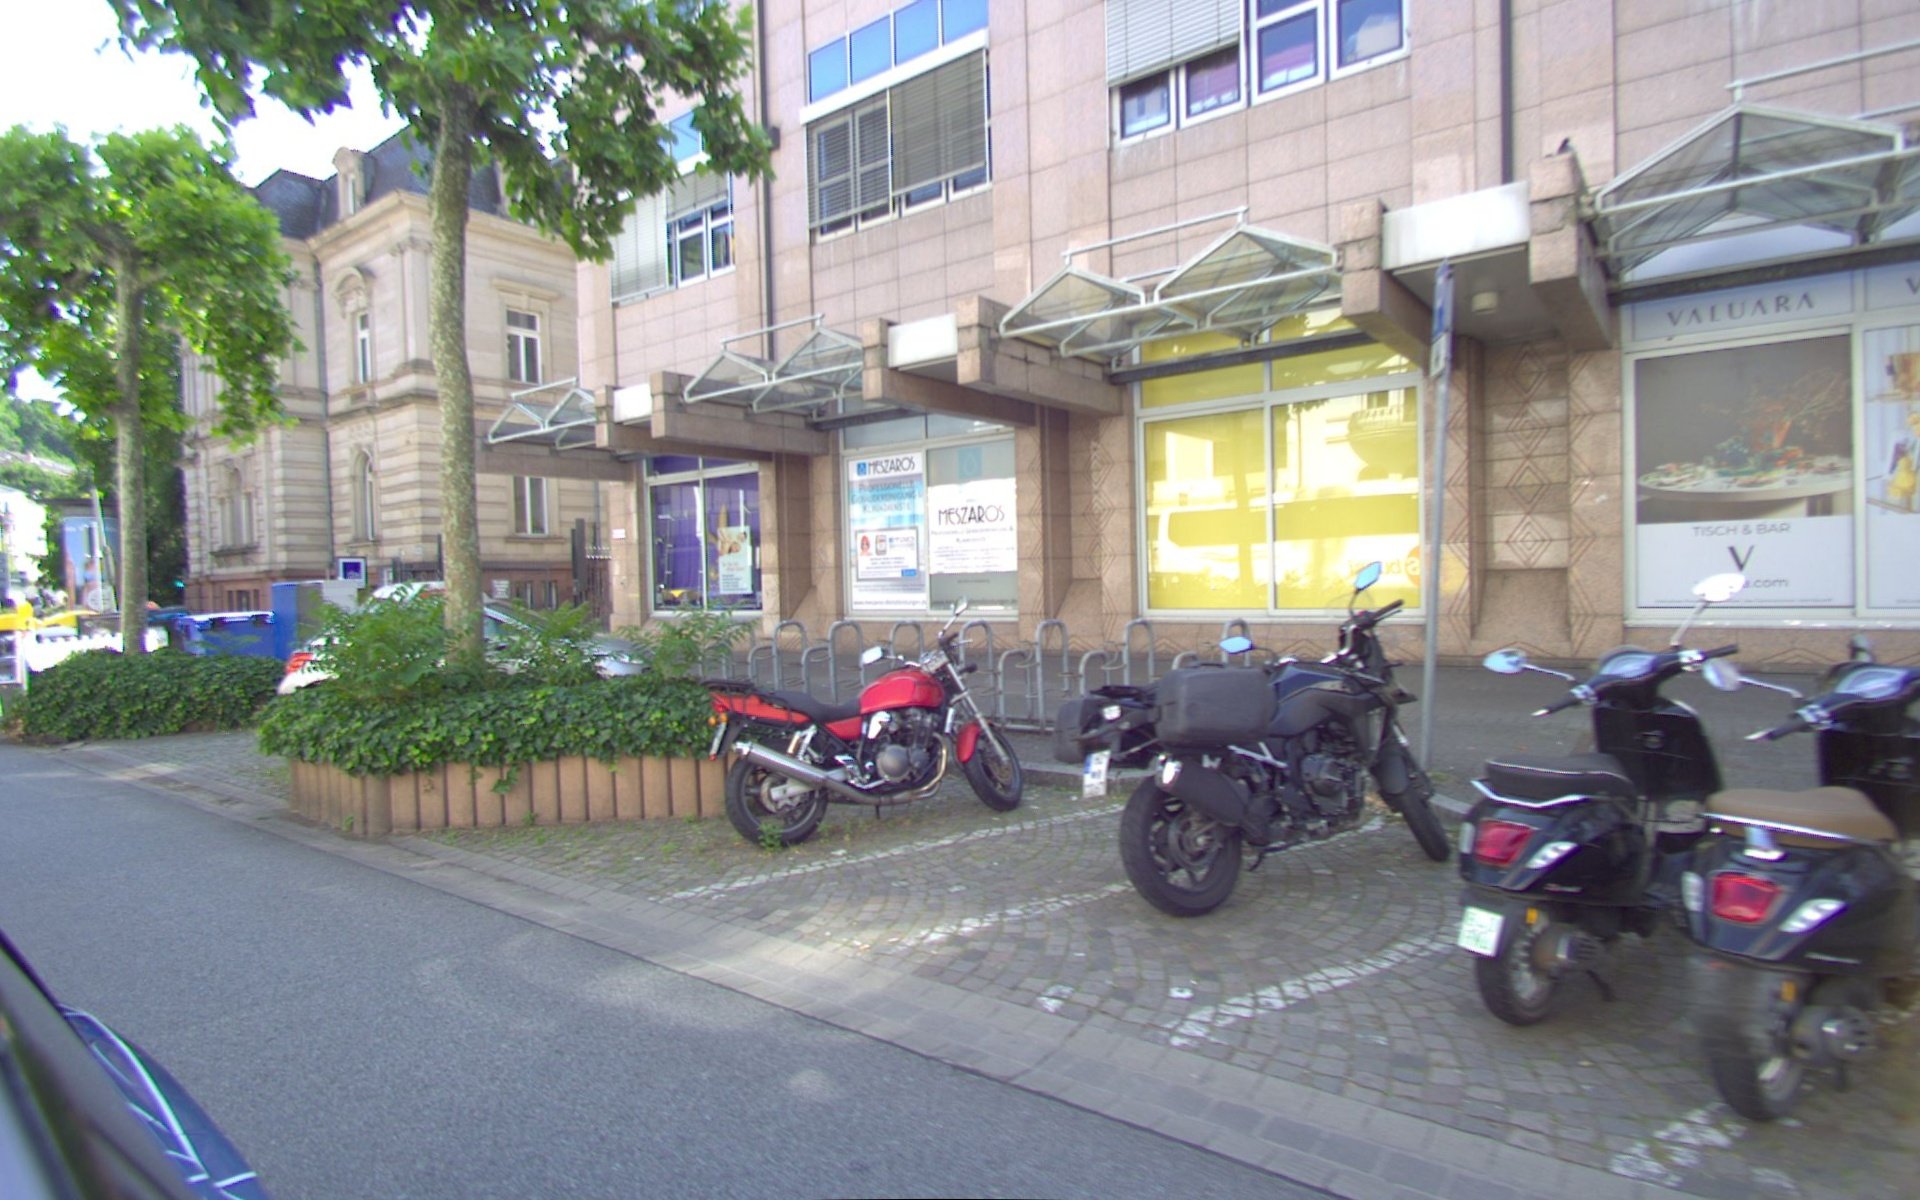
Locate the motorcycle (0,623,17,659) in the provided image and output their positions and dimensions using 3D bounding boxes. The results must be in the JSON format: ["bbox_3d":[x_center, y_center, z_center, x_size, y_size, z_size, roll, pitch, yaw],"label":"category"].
[{"bbox_3d":[-28.951,1.236,30.703,0.448,1.005,2.163,-4,3,-43],"label":"motorcycle"}]

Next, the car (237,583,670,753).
[{"bbox_3d":[-5.478,0.673,11.526,3.991,1.505,1.940,-3,1,-11],"label":"car"}]

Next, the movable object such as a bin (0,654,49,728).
[{"bbox_3d":[-12.771,1.218,13.642,0.495,0.946,0.553,-2,-1,11],"label":"movable object such as a bin"}]

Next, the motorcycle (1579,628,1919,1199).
[{"bbox_3d":[2.668,0.733,2.875,1.884,1.178,0.762,-3,1,-32],"label":"motorcycle"}]

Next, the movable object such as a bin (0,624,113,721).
[{"bbox_3d":[-13.586,1.050,15.106,0.852,1.309,1.265,-1,1,37],"label":"movable object such as a bin"}]

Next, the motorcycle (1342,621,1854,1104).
[{"bbox_3d":[2.266,0.718,3.512,1.884,1.178,0.730,-3,1,-32],"label":"motorcycle"}]

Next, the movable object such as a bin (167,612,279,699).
[{"bbox_3d":[-12.372,0.919,17.006,1.078,1.309,1.198,-3,2,37],"label":"movable object such as a bin"}]

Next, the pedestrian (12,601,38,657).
[{"bbox_3d":[-28.678,0.868,31.037,0.542,1.677,0.937,-2,2,-44],"label":"pedestrian"}]

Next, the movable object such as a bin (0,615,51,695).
[{"bbox_3d":[-18.545,1.075,19.673,1.439,1.461,1.112,-2,2,43],"label":"movable object such as a bin"}]

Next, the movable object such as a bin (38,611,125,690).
[{"bbox_3d":[-17.794,1.001,20.497,1.439,1.461,1.112,-2,2,43],"label":"movable object such as a bin"}]

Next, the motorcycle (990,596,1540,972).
[{"bbox_3d":[1.492,0.680,4.880,2.313,1.277,1.297,-3,1,-32],"label":"motorcycle"}]

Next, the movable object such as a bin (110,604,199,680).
[{"bbox_3d":[-16.928,0.872,21.259,1.364,1.461,1.196,-2,2,43],"label":"movable object such as a bin"}]

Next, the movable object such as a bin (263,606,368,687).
[{"bbox_3d":[-11.510,0.817,18.086,1.125,1.309,1.198,-3,2,37],"label":"movable object such as a bin"}]

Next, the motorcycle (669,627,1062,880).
[{"bbox_3d":[-0.566,0.823,6.146,2.142,1.178,0.923,-3,1,-25],"label":"motorcycle"}]

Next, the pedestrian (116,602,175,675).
[{"bbox_3d":[-20.089,0.942,24.977,0.745,1.738,0.882,-1,1,31],"label":"pedestrian"}]
